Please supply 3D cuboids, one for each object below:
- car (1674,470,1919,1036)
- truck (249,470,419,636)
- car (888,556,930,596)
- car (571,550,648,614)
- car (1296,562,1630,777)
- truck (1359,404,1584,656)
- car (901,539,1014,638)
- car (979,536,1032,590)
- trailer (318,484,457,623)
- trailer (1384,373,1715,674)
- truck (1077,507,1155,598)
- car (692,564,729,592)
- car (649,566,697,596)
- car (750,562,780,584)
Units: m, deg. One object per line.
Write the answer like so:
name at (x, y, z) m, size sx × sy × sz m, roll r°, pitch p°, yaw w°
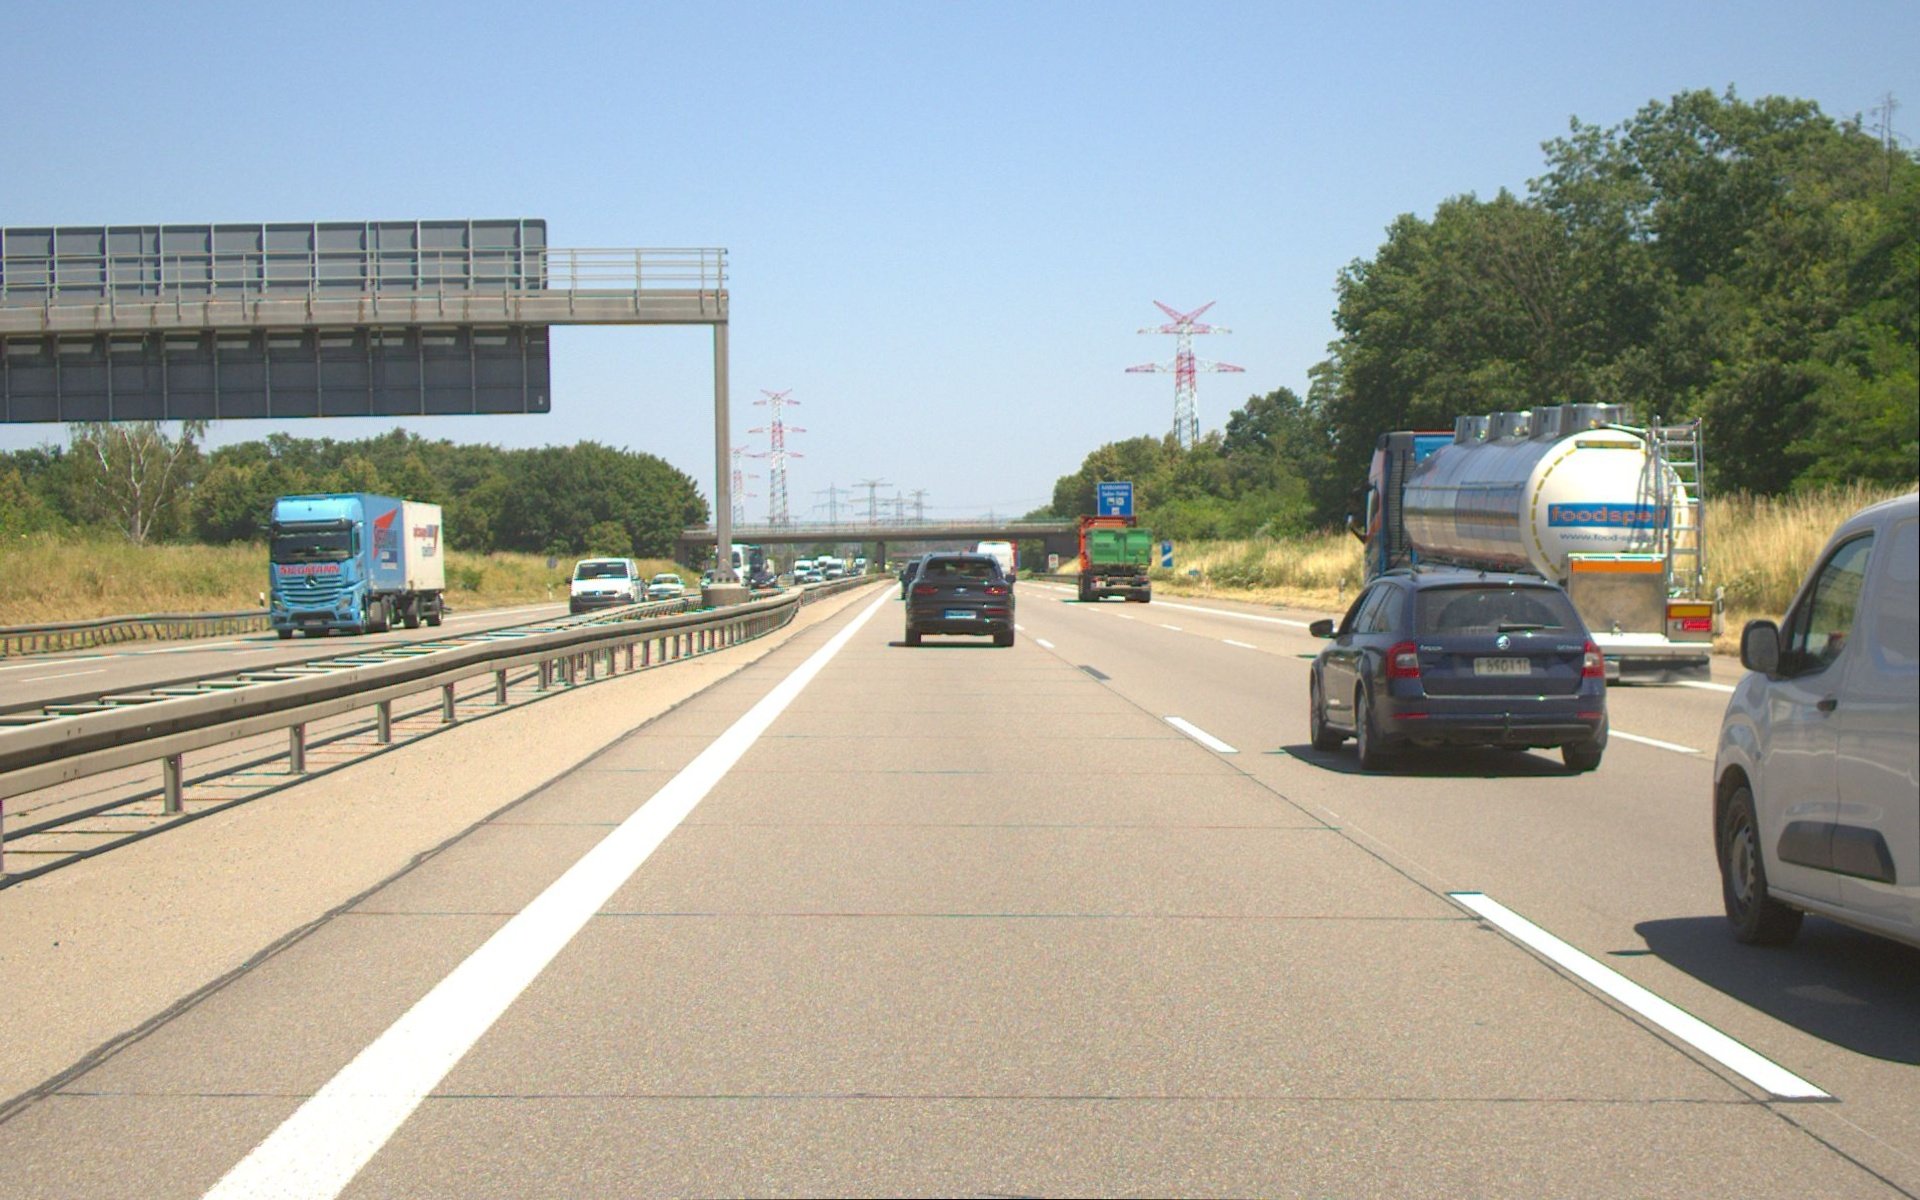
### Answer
car at (3.999, 0.489, 12.068) m, size 1.866 × 1.811 × 4.941 m, roll 1°, pitch 1°, yaw -1°
truck at (-18.261, -1.383, 100.993) m, size 3.058 × 4.543 × 10.459 m, roll -1°, pitch 1°, yaw -1°
car at (-2.249, -1.064, 152.137) m, size 1.794 × 1.744 × 4.000 m, roll 1°, pitch 1°, yaw -1°
car at (-10.642, -0.563, 104.609) m, size 1.831 × 1.848 × 5.237 m, roll -2°, pitch 1°, yaw -1°
car at (3.715, 0.461, 26.111) m, size 1.801 × 1.478 × 4.272 m, roll 1°, pitch 1°, yaw -1°
truck at (8.002, -1.079, 54.454) m, size 2.529 × 3.721 × 6.099 m, roll 1°, pitch 1°, yaw -1°
car at (-0.073, -0.230, 63.692) m, size 1.993 × 1.744 × 4.000 m, roll 1°, pitch 1°, yaw -1°
car at (2.344, -1.933, 180.434) m, size 2.621 × 2.750 × 6.096 m, roll 1°, pitch 1°, yaw 0°
trailer at (-18.473, -1.492, 111.507) m, size 3.058 × 4.268 × 8.636 m, roll -1°, pitch 1°, yaw -1°
trailer at (8.060, -1.015, 48.664) m, size 2.529 × 3.721 × 11.549 m, roll 1°, pitch 1°, yaw -1°
truck at (6.726, -2.065, 149.975) m, size 2.681 × 3.785 × 12.479 m, roll 1°, pitch 1°, yaw 0°
car at (-15.857, -1.414, 218.721) m, size 1.962 × 1.712 × 5.291 m, roll -2°, pitch 1°, yaw -1°
car at (-14.358, -0.941, 171.916) m, size 1.807 × 1.391 × 4.480 m, roll -2°, pitch 1°, yaw 2°
car at (-14.180, -1.982, 250.531) m, size 1.962 × 1.520 × 5.291 m, roll -2°, pitch 1°, yaw -1°
